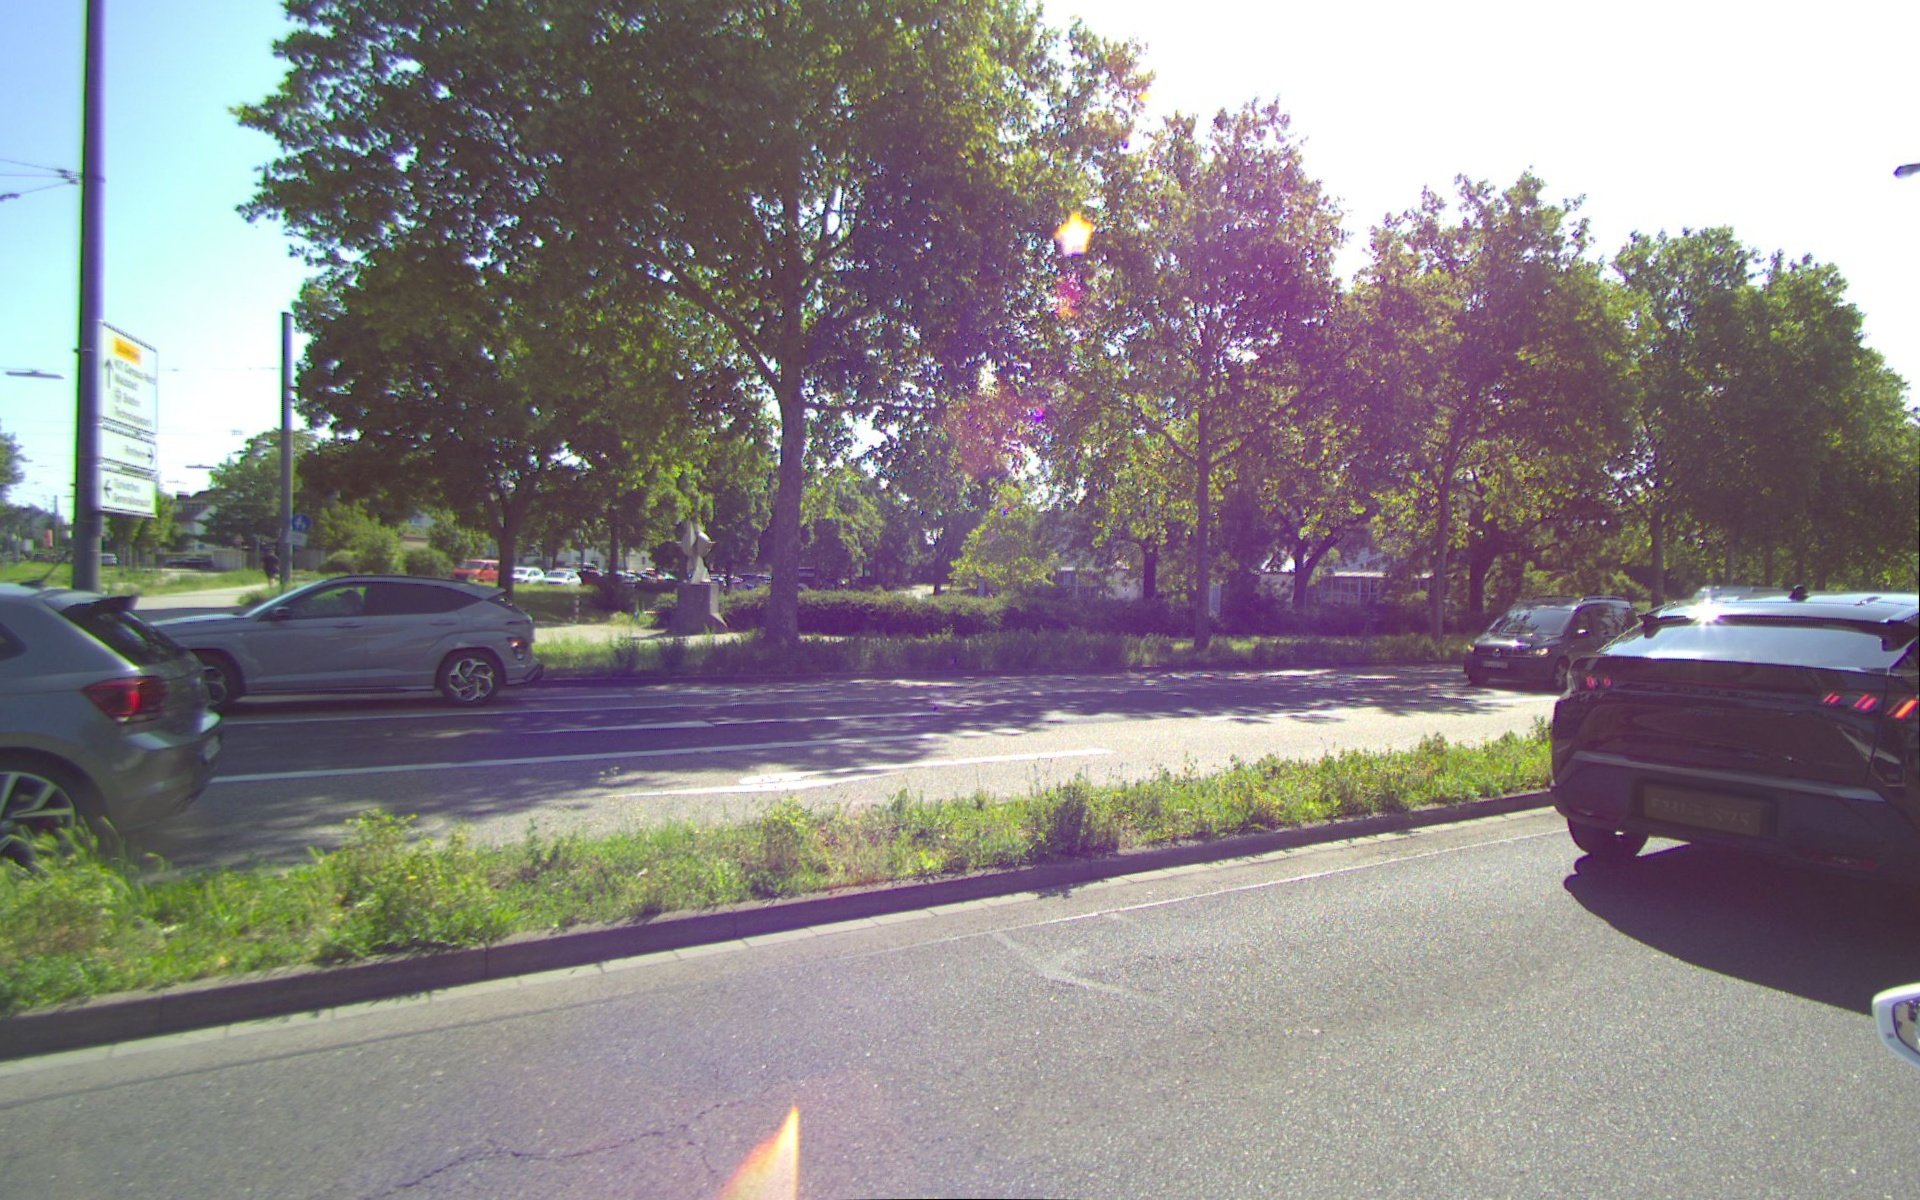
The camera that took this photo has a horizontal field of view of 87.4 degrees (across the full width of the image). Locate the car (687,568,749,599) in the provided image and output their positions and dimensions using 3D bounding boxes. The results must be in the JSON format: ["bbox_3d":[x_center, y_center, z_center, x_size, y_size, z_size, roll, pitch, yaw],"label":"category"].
[{"bbox_3d":[-17.012,-1.186,70.665,3.922,2.041,1.817,2,1,-2],"label":"car"}]

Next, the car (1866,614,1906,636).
[{"bbox_3d":[71.876,1.928,77.924,4.361,1.577,1.779,1,0,-41],"label":"car"}]

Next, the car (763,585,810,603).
[{"bbox_3d":[-15.555,-0.516,90.226,3.924,1.511,1.816,2,1,-6],"label":"car"}]

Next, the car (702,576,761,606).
[{"bbox_3d":[-16.654,-0.634,73.377,3.922,2.041,1.817,2,1,-2],"label":"car"}]

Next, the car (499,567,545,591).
[{"bbox_3d":[-28.231,-1.337,64.846,1.322,1.466,3.342,2,1,3],"label":"car"}]

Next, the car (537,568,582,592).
[{"bbox_3d":[-25.686,-1.295,64.506,1.419,1.466,3.342,2,1,3],"label":"car"}]

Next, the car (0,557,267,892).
[{"bbox_3d":[-5.832,0.524,4.704,4.080,1.528,1.686,1,1,-29],"label":"car"}]

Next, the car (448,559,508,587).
[{"bbox_3d":[-31.171,-1.715,65.112,1.779,1.725,3.988,2,1,3],"label":"car"}]

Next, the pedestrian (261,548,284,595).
[{"bbox_3d":[-30.010,-1.241,43.847,0.703,2.041,0.790,1,1,-28],"label":"pedestrian"}]

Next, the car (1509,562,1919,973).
[{"bbox_3d":[5.492,0.747,6.056,4.385,1.719,1.862,2,0,-31],"label":"car"}]

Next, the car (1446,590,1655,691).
[{"bbox_3d":[12.252,0.776,20.732,4.940,1.863,1.676,1,0,-33],"label":"car"}]

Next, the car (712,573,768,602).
[{"bbox_3d":[-16.813,-0.976,76.890,3.922,2.041,1.817,2,1,-2],"label":"car"}]

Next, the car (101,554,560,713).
[{"bbox_3d":[-7.295,0.365,12.085,4.384,1.610,1.699,1,0,-32],"label":"car"}]

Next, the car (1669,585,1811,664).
[{"bbox_3d":[28.345,0.873,36.402,7.145,2.648,2.047,1,0,-35],"label":"car"}]
